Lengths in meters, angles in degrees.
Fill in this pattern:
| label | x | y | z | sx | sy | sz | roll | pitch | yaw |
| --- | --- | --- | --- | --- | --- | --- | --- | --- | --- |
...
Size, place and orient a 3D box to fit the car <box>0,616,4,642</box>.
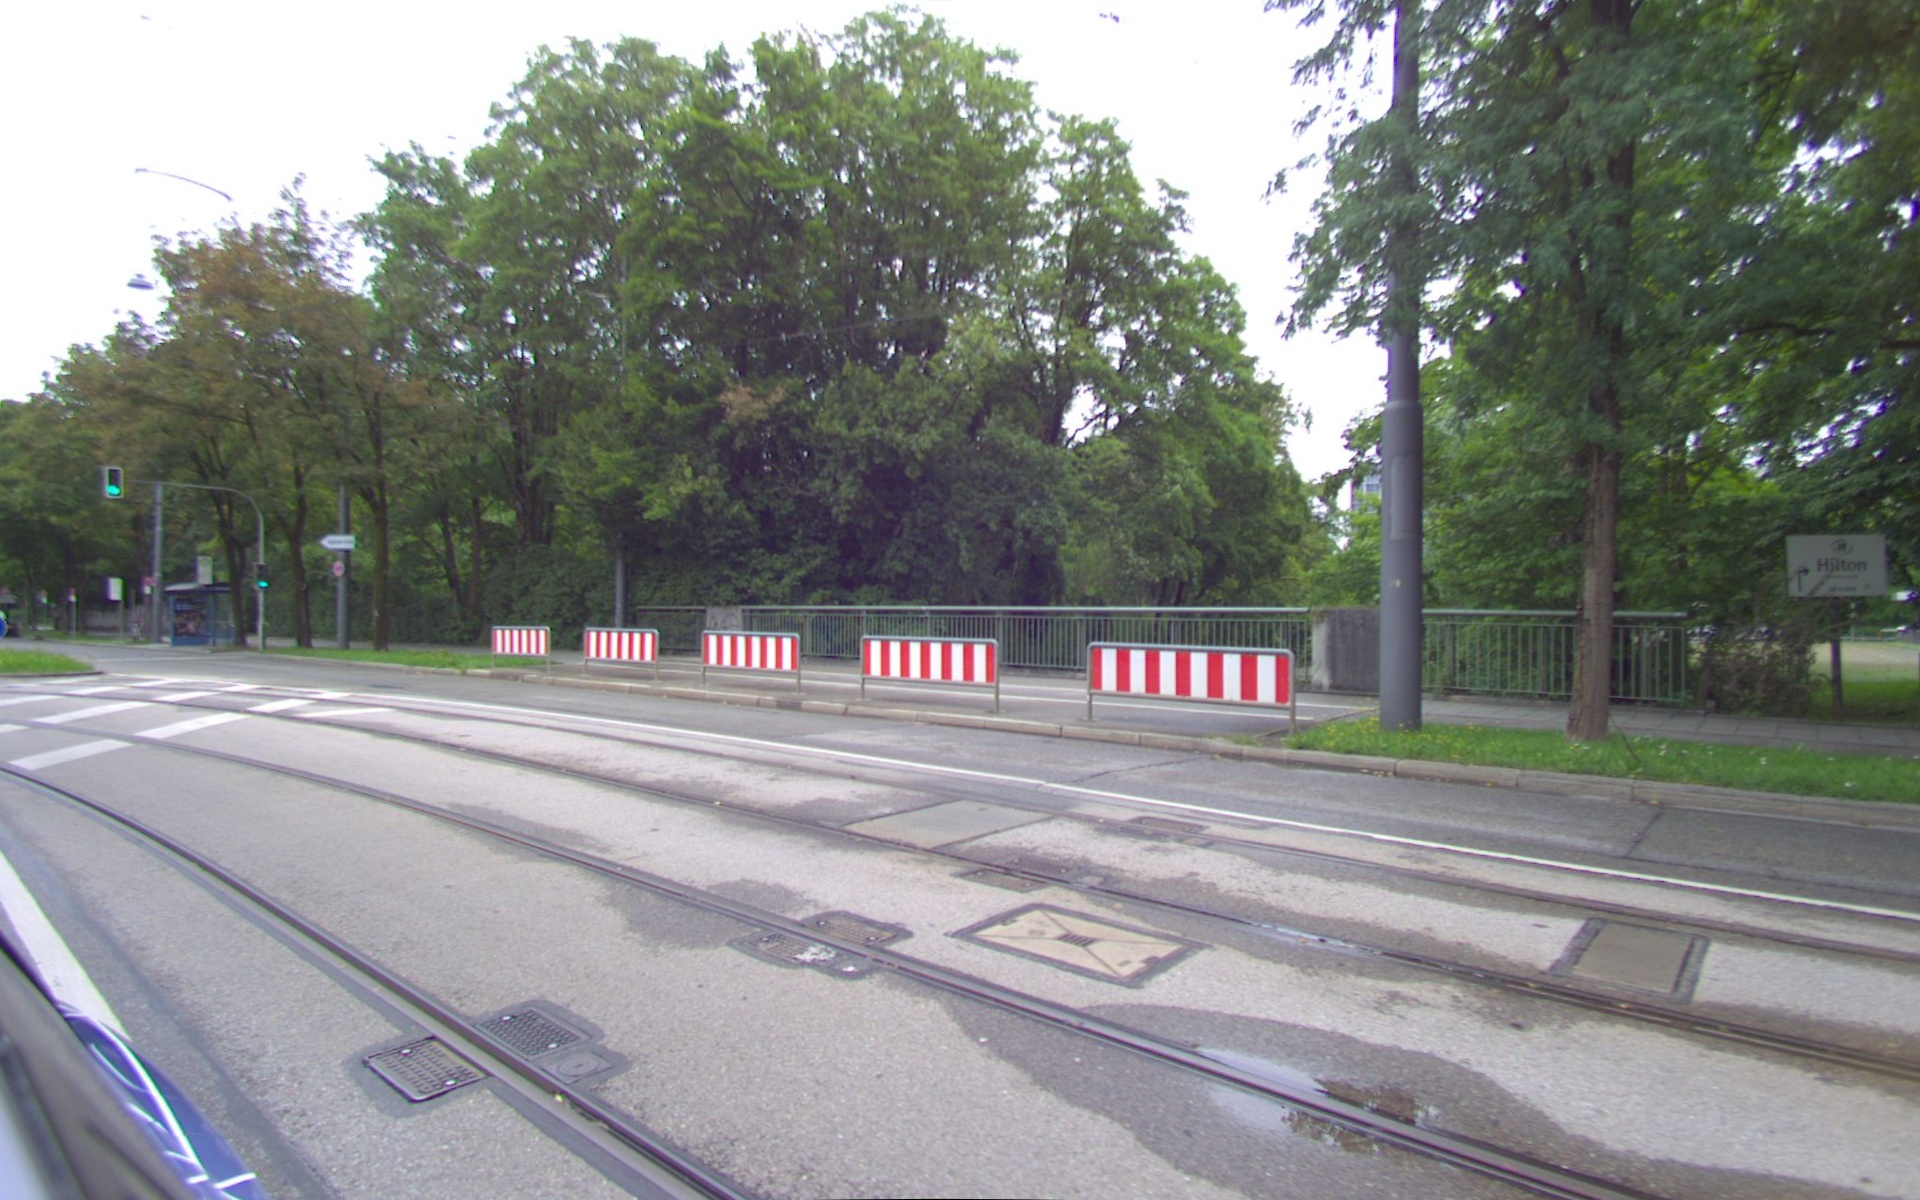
| label | x | y | z | sx | sy | sz | roll | pitch | yaw |
| --- | --- | --- | --- | --- | --- | --- | --- | --- | --- |
| car | -67.901 | 2.034 | 70.197 | 3.997 | 1.739 | 1.864 | 0 | 1 | 40 |
